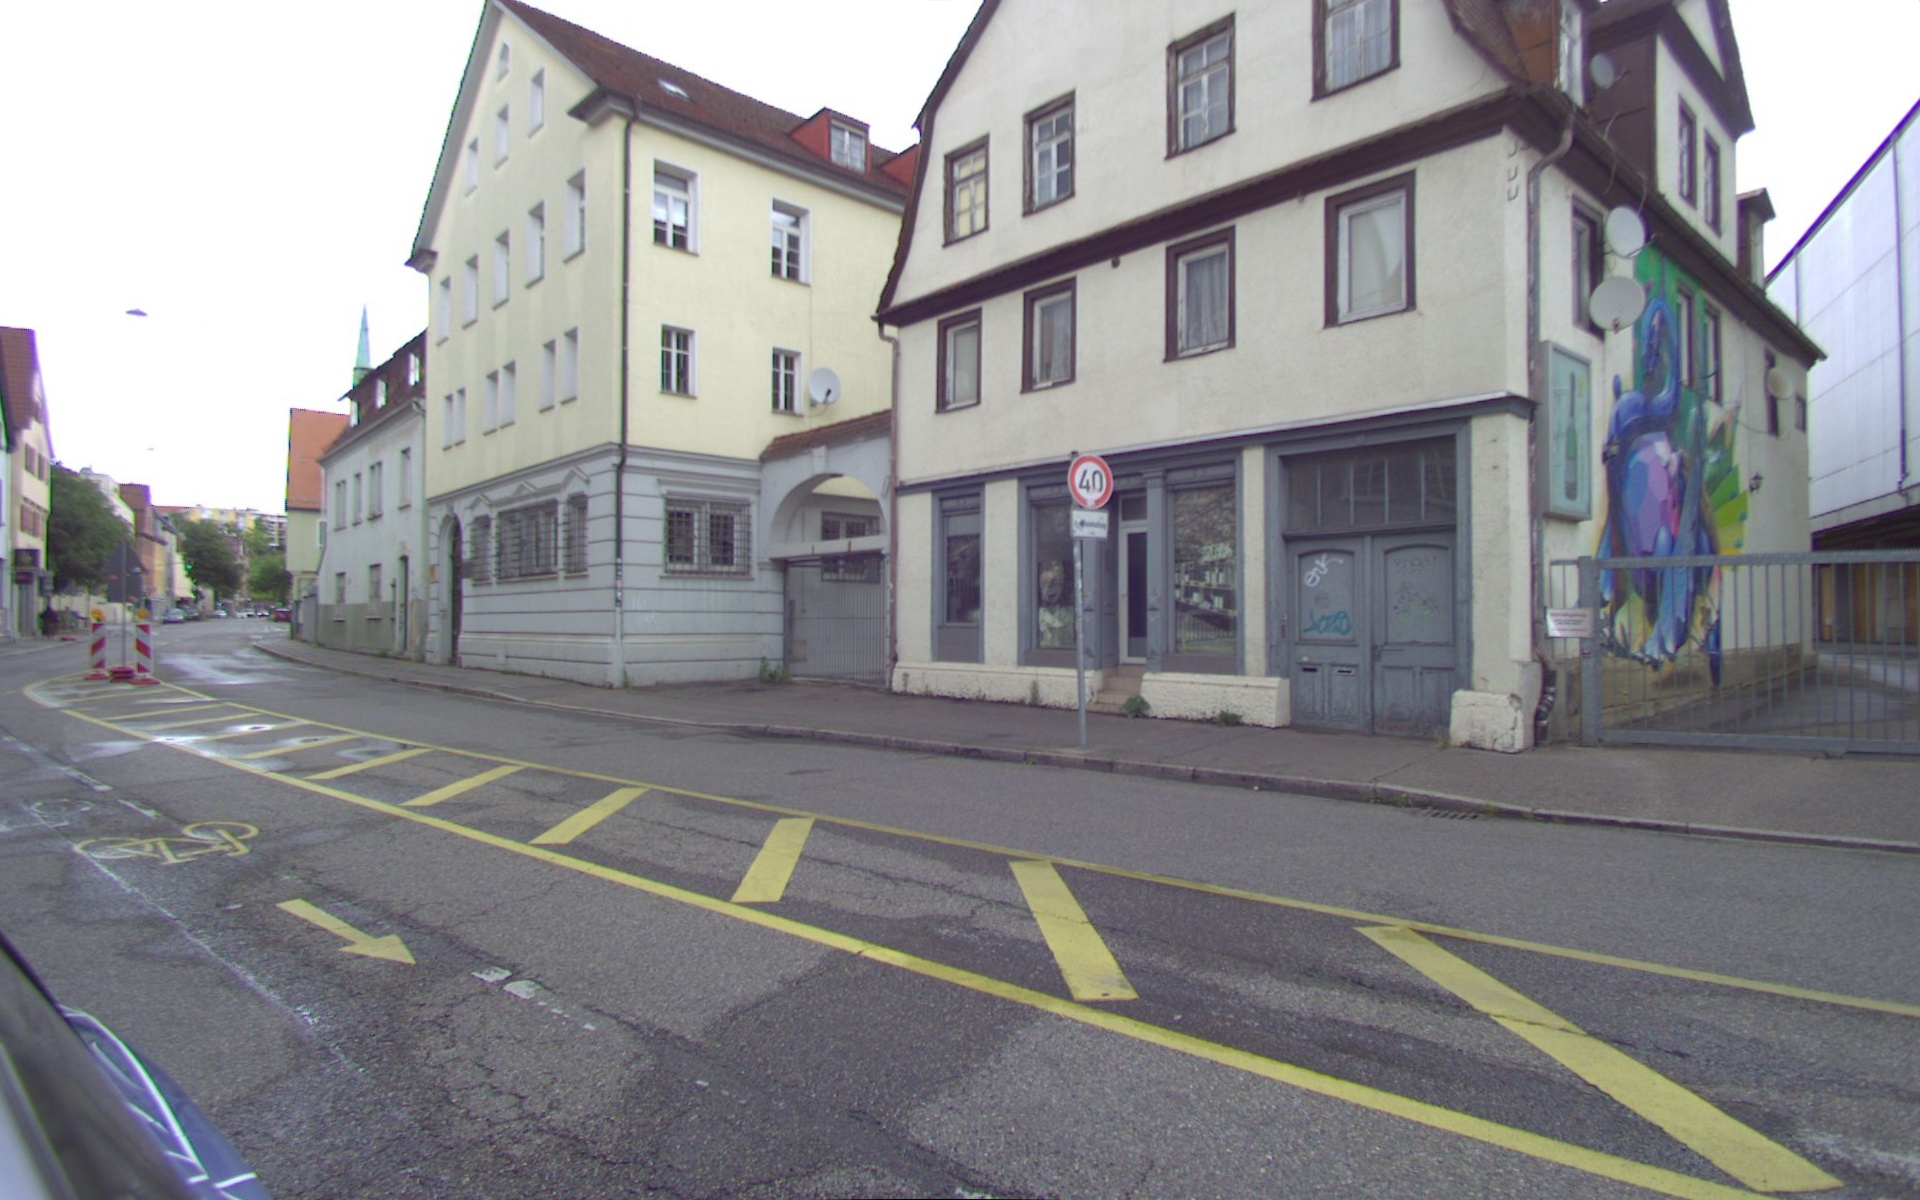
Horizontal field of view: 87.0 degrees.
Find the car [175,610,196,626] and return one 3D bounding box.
[{"bbox_3d":[-97.001,2.273,126.775,1.967,2.029,4.009,1,-2,-37],"label":"car"}]

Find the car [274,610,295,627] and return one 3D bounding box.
[{"bbox_3d":[-85.675,2.354,128.339,2.027,2.029,4.009,1,-2,-37],"label":"car"}]

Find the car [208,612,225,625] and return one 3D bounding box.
[{"bbox_3d":[-114.783,2.890,156.200,1.967,2.029,4.009,1,-2,-37],"label":"car"}]

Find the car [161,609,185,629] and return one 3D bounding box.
[{"bbox_3d":[-84.801,2.081,109.024,1.967,2.029,4.009,1,-2,-37],"label":"car"}]

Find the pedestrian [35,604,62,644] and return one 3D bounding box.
[{"bbox_3d":[-44.404,1.160,49.317,0.864,1.914,0.899,1,-2,-36],"label":"pedestrian"}]
